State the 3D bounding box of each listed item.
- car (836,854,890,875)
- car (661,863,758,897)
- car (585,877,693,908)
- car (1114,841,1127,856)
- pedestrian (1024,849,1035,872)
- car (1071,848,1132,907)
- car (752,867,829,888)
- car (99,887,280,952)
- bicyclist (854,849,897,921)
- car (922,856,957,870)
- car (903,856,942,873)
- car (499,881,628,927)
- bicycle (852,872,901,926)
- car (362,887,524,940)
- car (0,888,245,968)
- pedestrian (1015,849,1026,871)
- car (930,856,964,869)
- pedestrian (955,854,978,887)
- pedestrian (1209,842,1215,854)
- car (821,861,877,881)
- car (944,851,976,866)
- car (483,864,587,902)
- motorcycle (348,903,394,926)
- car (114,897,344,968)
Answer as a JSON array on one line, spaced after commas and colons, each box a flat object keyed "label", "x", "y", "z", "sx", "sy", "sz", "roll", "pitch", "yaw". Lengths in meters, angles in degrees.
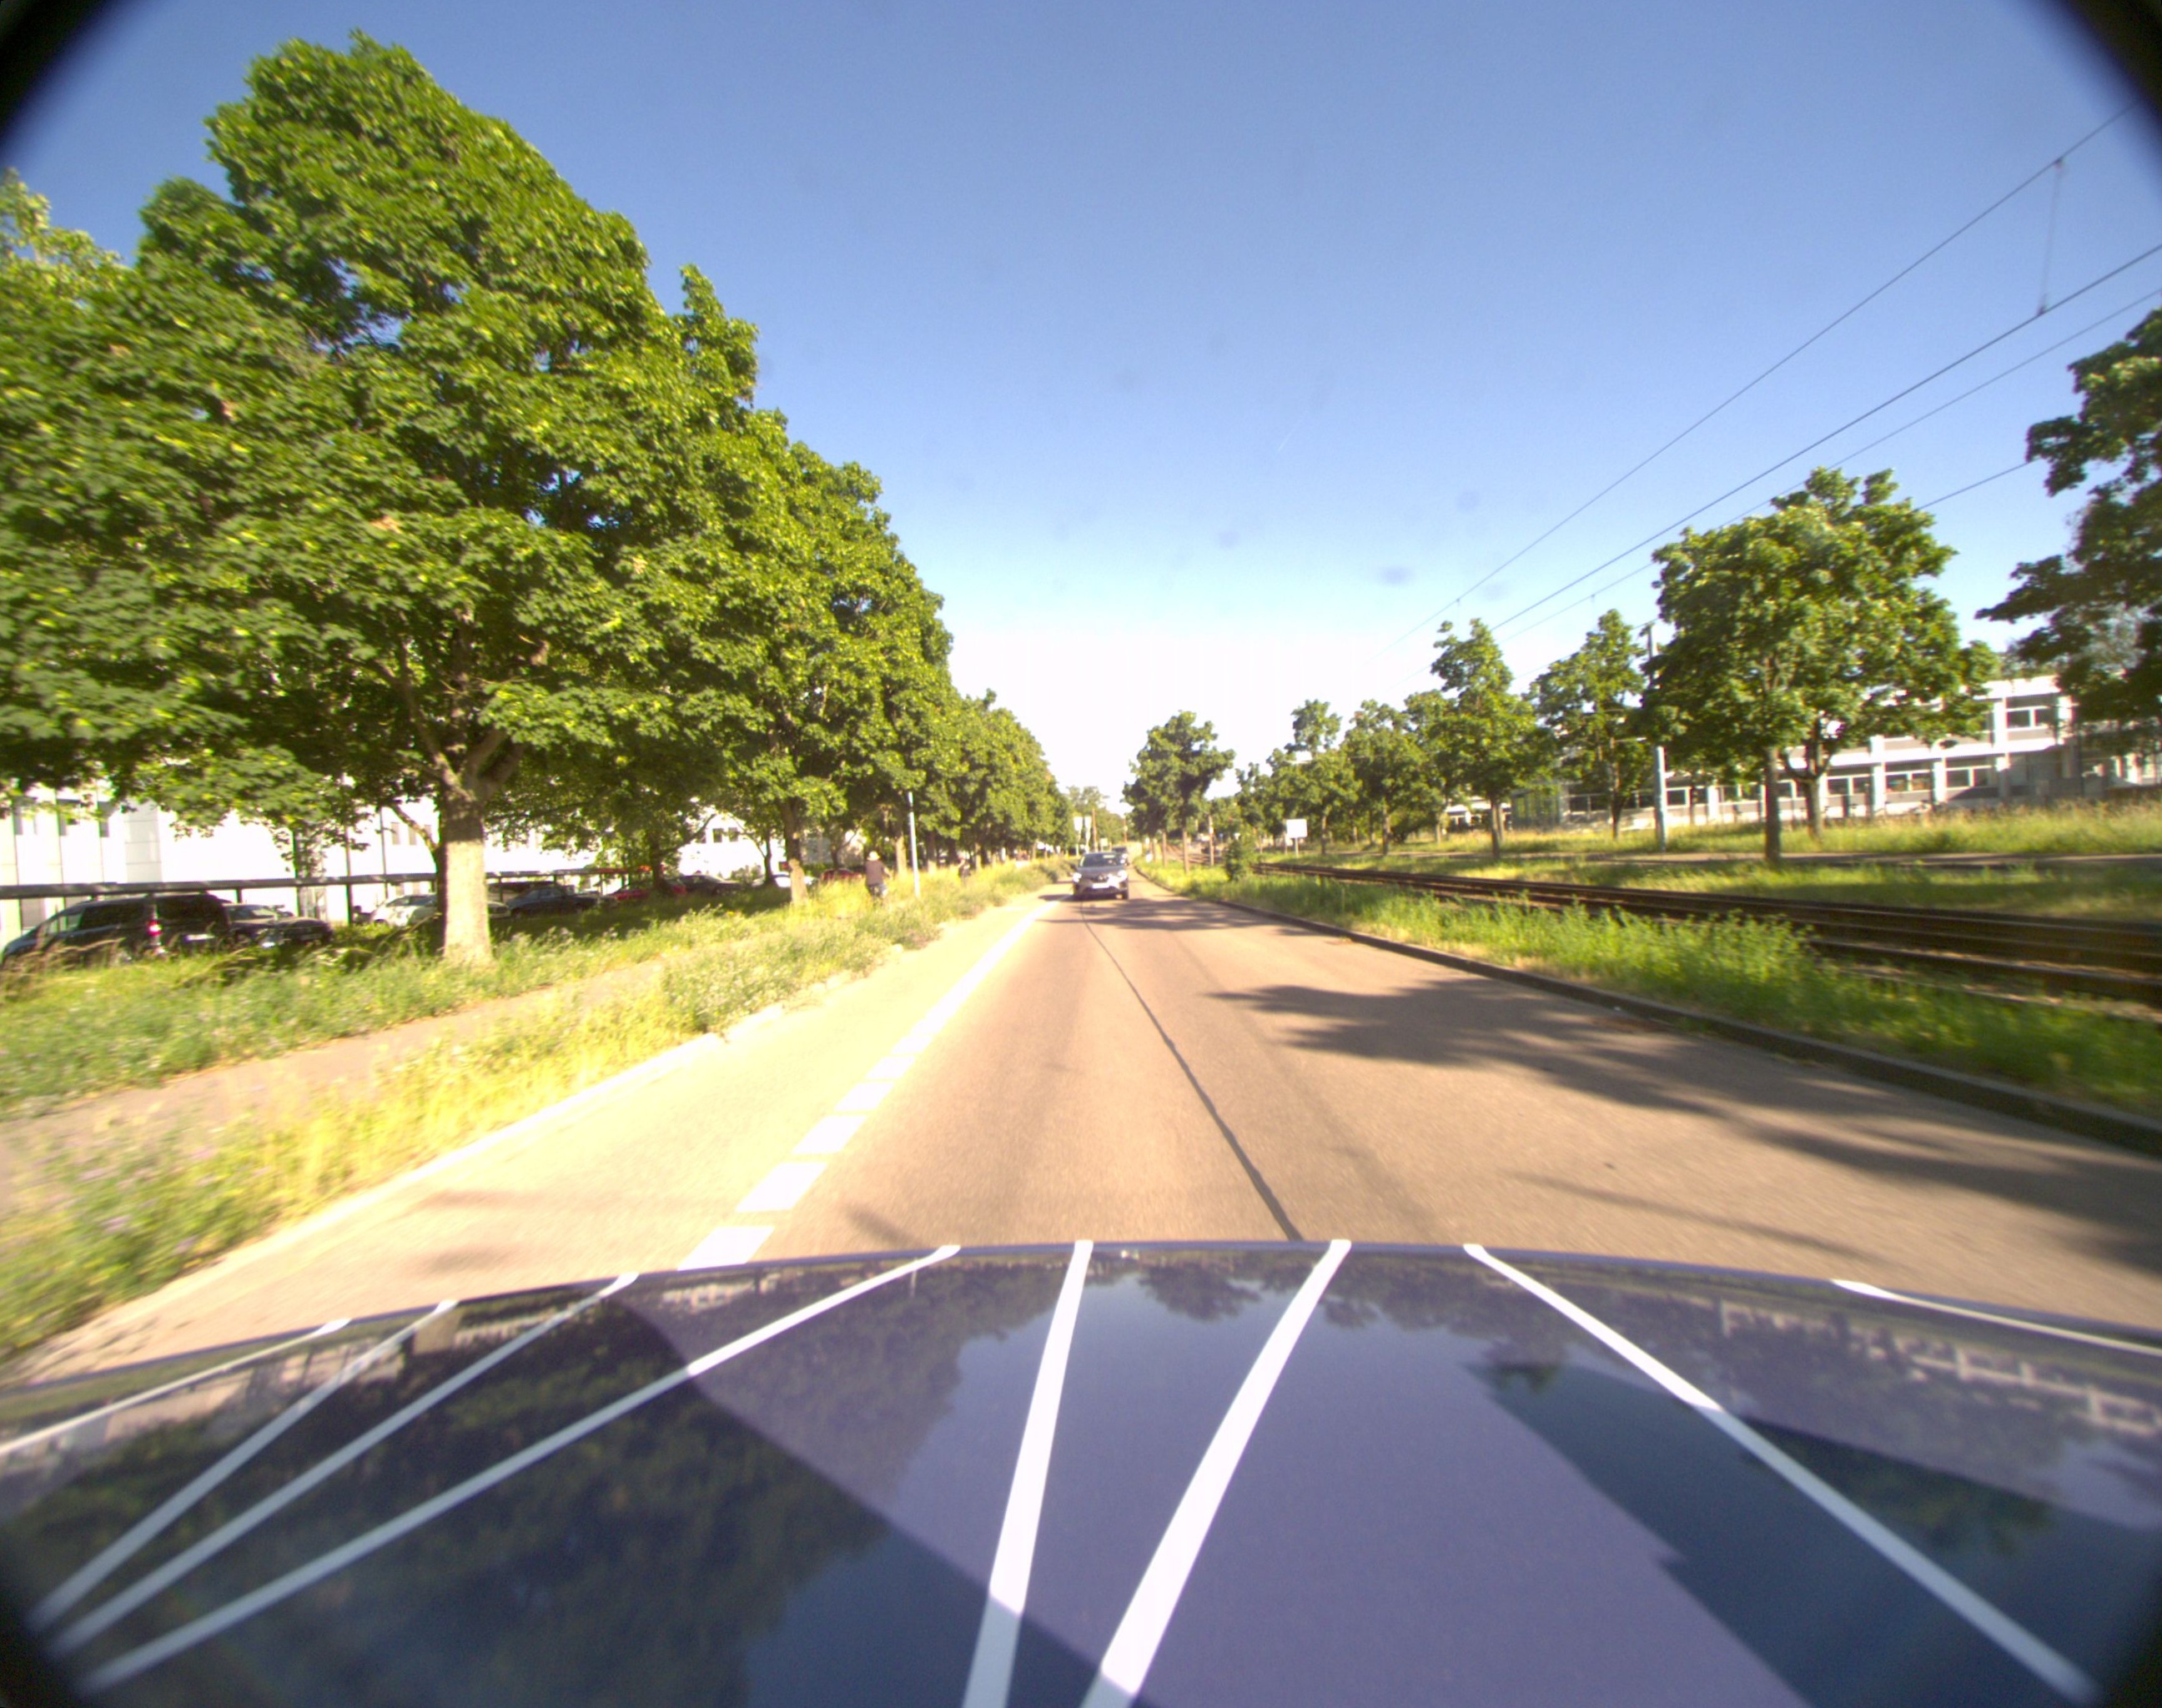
[{"label": "car", "x": -19.551, "y": 0.924, "z": 68.211, "sx": 4.348, "sy": 1.690, "sz": 1.765, "roll": -3, "pitch": 1, "yaw": -7}, {"label": "car", "x": -20.825, "y": 1.430, "z": 42.694, "sx": 4.403, "sy": 1.587, "sz": 1.883, "roll": -3, "pitch": 1, "yaw": 0}, {"label": "car", "x": -21.882, "y": 1.896, "z": 37.717, "sx": 4.301, "sy": 1.316, "sz": 1.941, "roll": -3, "pitch": 0, "yaw": 7}, {"label": "car", "x": 4.898, "y": -0.688, "z": 95.046, "sx": 1.555, "sy": 1.765, "sz": 3.457, "roll": -3, "pitch": 1, "yaw": 3}, {"label": "pedestrian", "x": -4.491, "y": 0.544, "z": 66.295, "sx": 0.709, "sy": 1.907, "sz": 0.817, "roll": -4, "pitch": 1, "yaw": 4}, {"label": "car", "x": 0.725, "y": 0.702, "z": 25.000, "sx": 1.750, "sy": 1.585, "sz": 4.246, "roll": -4, "pitch": 1, "yaw": 3}, {"label": "car", "x": -20.643, "y": 1.652, "z": 54.165, "sx": 4.709, "sy": 1.263, "sz": 1.807, "roll": -3, "pitch": 0, "yaw": 0}, {"label": "car", "x": -33.240, "y": 2.426, "z": 28.406, "sx": 4.595, "sy": 2.002, "sz": 1.958, "roll": -3, "pitch": 1, "yaw": 4}, {"label": "bicyclist", "x": -5.137, "y": 0.768, "z": 19.067, "sx": 0.684, "sy": 1.710, "sz": 0.902, "roll": -3, "pitch": 2, "yaw": 3}, {"label": "car", "x": -18.364, "y": 1.170, "z": 98.343, "sx": 4.537, "sy": 1.507, "sz": 1.851, "roll": -3, "pitch": 1, "yaw": 39}, {"label": "car", "x": -18.143, "y": 1.218, "z": 86.878, "sx": 1.922, "sy": 1.742, "sz": 5.442, "roll": -5, "pitch": 1, "yaw": -39}, {"label": "car", "x": -21.169, "y": 2.031, "z": 31.195, "sx": 4.004, "sy": 1.516, "sz": 1.706, "roll": -3, "pitch": 1, "yaw": 0}, {"label": "bicycle", "x": -5.123, "y": 1.092, "z": 19.151, "sx": 0.484, "sy": 1.197, "sz": 2.144, "roll": -3, "pitch": 1, "yaw": 3}, {"label": "car", "x": -22.004, "y": 2.024, "z": 26.287, "sx": 4.174, "sy": 1.423, "sz": 1.825, "roll": -4, "pitch": 1, "yaw": 6}, {"label": "car", "x": -22.432, "y": 1.690, "z": 17.706, "sx": 4.039, "sy": 1.496, "sz": 1.738, "roll": -3, "pitch": 1, "yaw": 3}, {"label": "pedestrian", "x": -5.277, "y": 0.523, "z": 66.356, "sx": 0.709, "sy": 1.919, "sz": 0.817, "roll": -4, "pitch": 1, "yaw": 7}, {"label": "car", "x": -17.909, "y": 1.100, "z": 101.736, "sx": 4.537, "sy": 1.440, "sz": 1.851, "roll": -3, "pitch": 1, "yaw": 39}, {"label": "pedestrian", "x": -5.583, "y": 0.804, "z": 37.069, "sx": 0.826, "sy": 1.560, "sz": 0.762, "roll": -4, "pitch": 1, "yaw": 4}, {"label": "pedestrian", "x": 19.710, "y": -0.958, "z": 114.484, "sx": 0.785, "sy": 1.741, "sz": 0.781, "roll": -4, "pitch": 1, "yaw": 3}, {"label": "car", "x": -19.905, "y": 1.440, "z": 65.383, "sx": 4.243, "sy": 1.527, "sz": 1.765, "roll": -3, "pitch": 1, "yaw": -6}, {"label": "car", "x": -17.947, "y": 0.721, "z": 112.800, "sx": 2.083, "sy": 1.865, "sz": 5.173, "roll": -5, "pitch": 1, "yaw": -41}, {"label": "car", "x": -32.790, "y": 1.720, "z": 45.709, "sx": 4.760, "sy": 1.938, "sz": 1.974, "roll": -3, "pitch": 0, "yaw": 2}, {"label": "motorcycle", "x": -33.599, "y": 2.857, "z": 35.954, "sx": 1.653, "sy": 0.965, "sz": 0.538, "roll": -3, "pitch": 1, "yaw": 2}, {"label": "car", "x": -22.189, "y": 2.022, "z": 19.869, "sx": 4.365, "sy": 1.450, "sz": 1.689, "roll": -3, "pitch": 1, "yaw": 6}]
